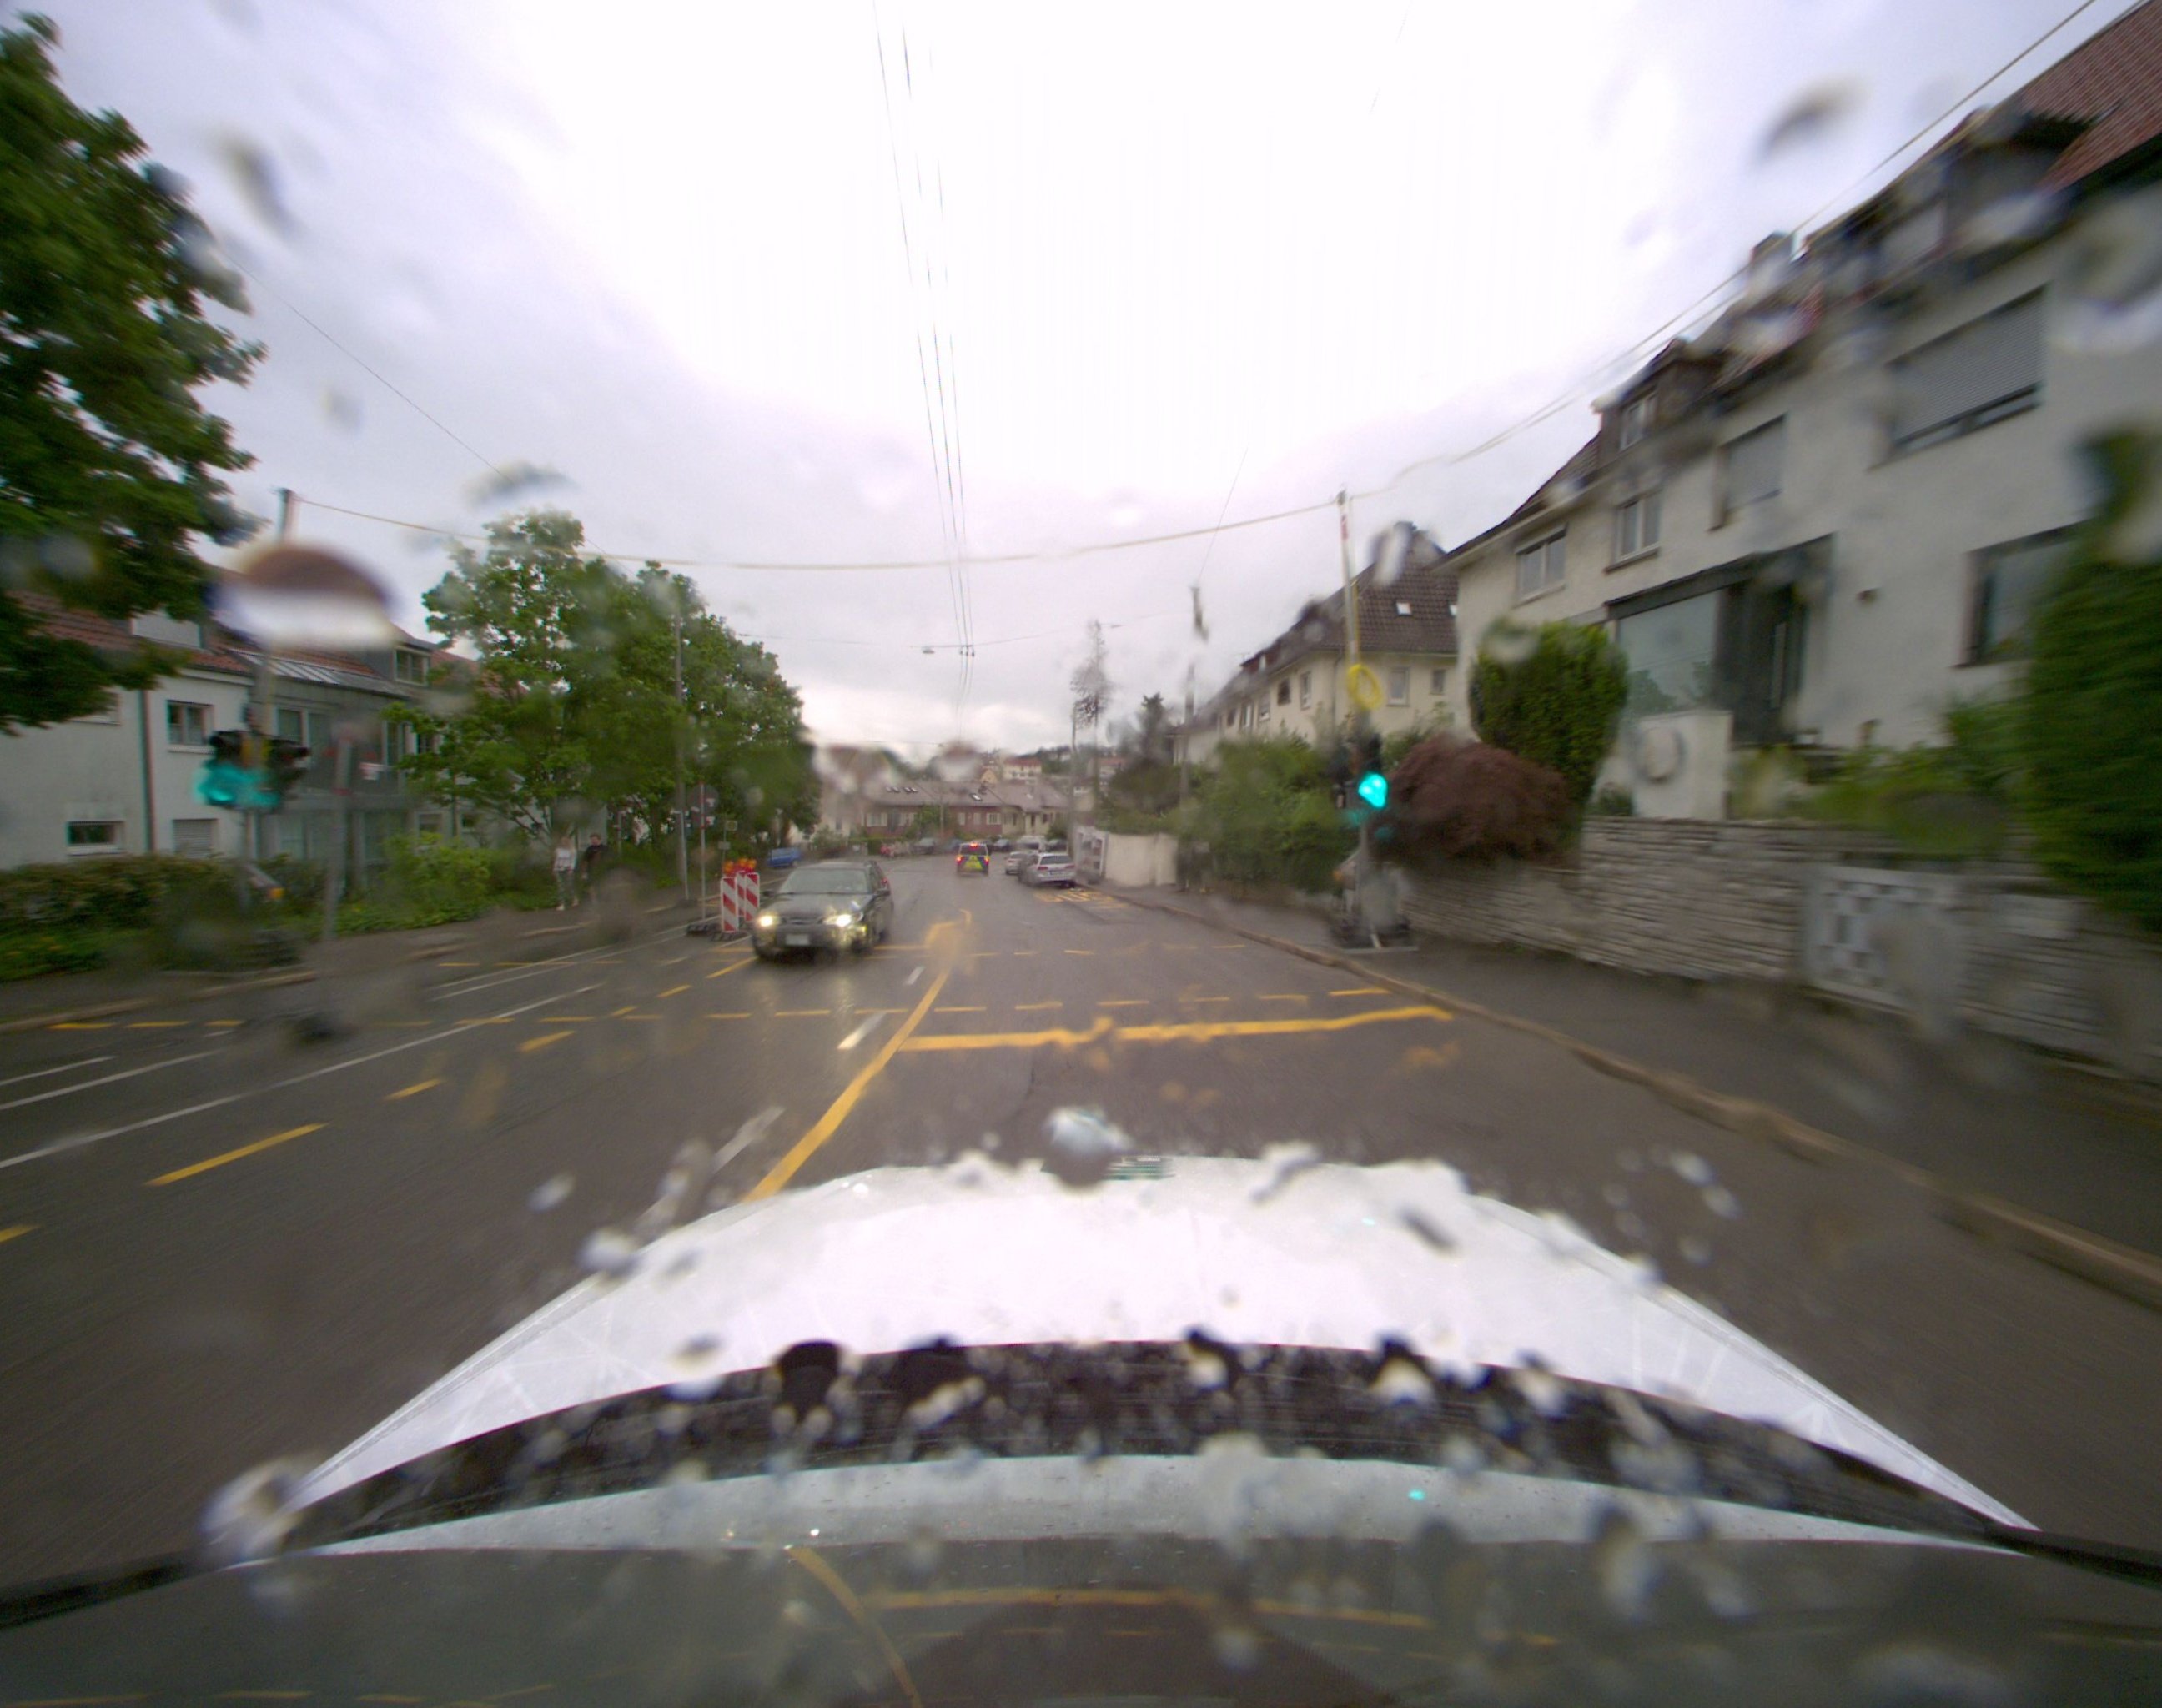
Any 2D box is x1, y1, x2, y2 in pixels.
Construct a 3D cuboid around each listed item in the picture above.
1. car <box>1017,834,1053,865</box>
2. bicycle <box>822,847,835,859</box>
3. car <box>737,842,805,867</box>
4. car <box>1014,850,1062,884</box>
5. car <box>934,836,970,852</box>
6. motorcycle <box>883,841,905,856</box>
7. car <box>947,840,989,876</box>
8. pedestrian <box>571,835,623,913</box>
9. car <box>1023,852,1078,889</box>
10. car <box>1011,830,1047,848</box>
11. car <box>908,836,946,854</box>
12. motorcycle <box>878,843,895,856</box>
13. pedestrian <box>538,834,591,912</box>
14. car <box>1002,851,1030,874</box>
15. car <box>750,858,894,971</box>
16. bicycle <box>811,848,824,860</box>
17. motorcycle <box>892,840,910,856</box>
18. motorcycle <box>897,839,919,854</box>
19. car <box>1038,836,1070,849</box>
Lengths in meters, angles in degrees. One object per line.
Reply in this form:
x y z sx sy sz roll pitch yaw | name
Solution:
-3.980 -0.417 71.049 2.087 2.542 5.632 1 1 7 | car
-22.177 -0.062 71.472 1.287 1.035 0.307 -2 -3 29 | bicycle
-21.248 0.049 55.846 1.819 1.666 3.965 0 0 44 | car
-2.143 0.582 39.649 1.716 1.513 3.983 -1 1 -13 | car
-13.399 -1.079 84.781 1.686 1.404 4.495 5 4 18 | car
-16.794 -0.501 73.127 1.790 1.279 0.513 3 3 11 | motorcycle
-6.742 0.171 48.461 2.308 1.939 4.312 -2 1 -9 | car
-11.752 0.468 19.811 0.707 1.816 1.143 1 1 -10 | pedestrian
-1.386 0.658 34.825 1.781 1.420 4.415 -1 1 -10 | car
-6.365 -1.815 100.193 1.831 2.078 5.052 5 3 31 | car
-15.039 -0.914 79.789 1.908 1.576 4.405 4 3 13 | car
-17.033 -0.397 71.442 0.505 1.139 1.932 0 2 19 | motorcycle
-12.456 0.441 19.671 0.681 1.816 1.151 1 1 -10 | pedestrian
-4.276 0.529 53.459 1.703 1.414 4.033 0 1 -7 | car
-4.187 0.865 13.859 1.699 1.461 4.667 -1 1 -10 | car
-23.360 0.000 72.208 1.311 1.035 0.307 -3 -3 31 | bicycle
-16.372 -0.552 74.069 1.785 1.303 0.617 6 4 40 | motorcycle
-16.078 -0.712 75.619 1.906 1.270 0.572 2 3 -20 | motorcycle
-3.468 -1.518 105.269 1.791 1.476 4.551 5 3 34 | car
